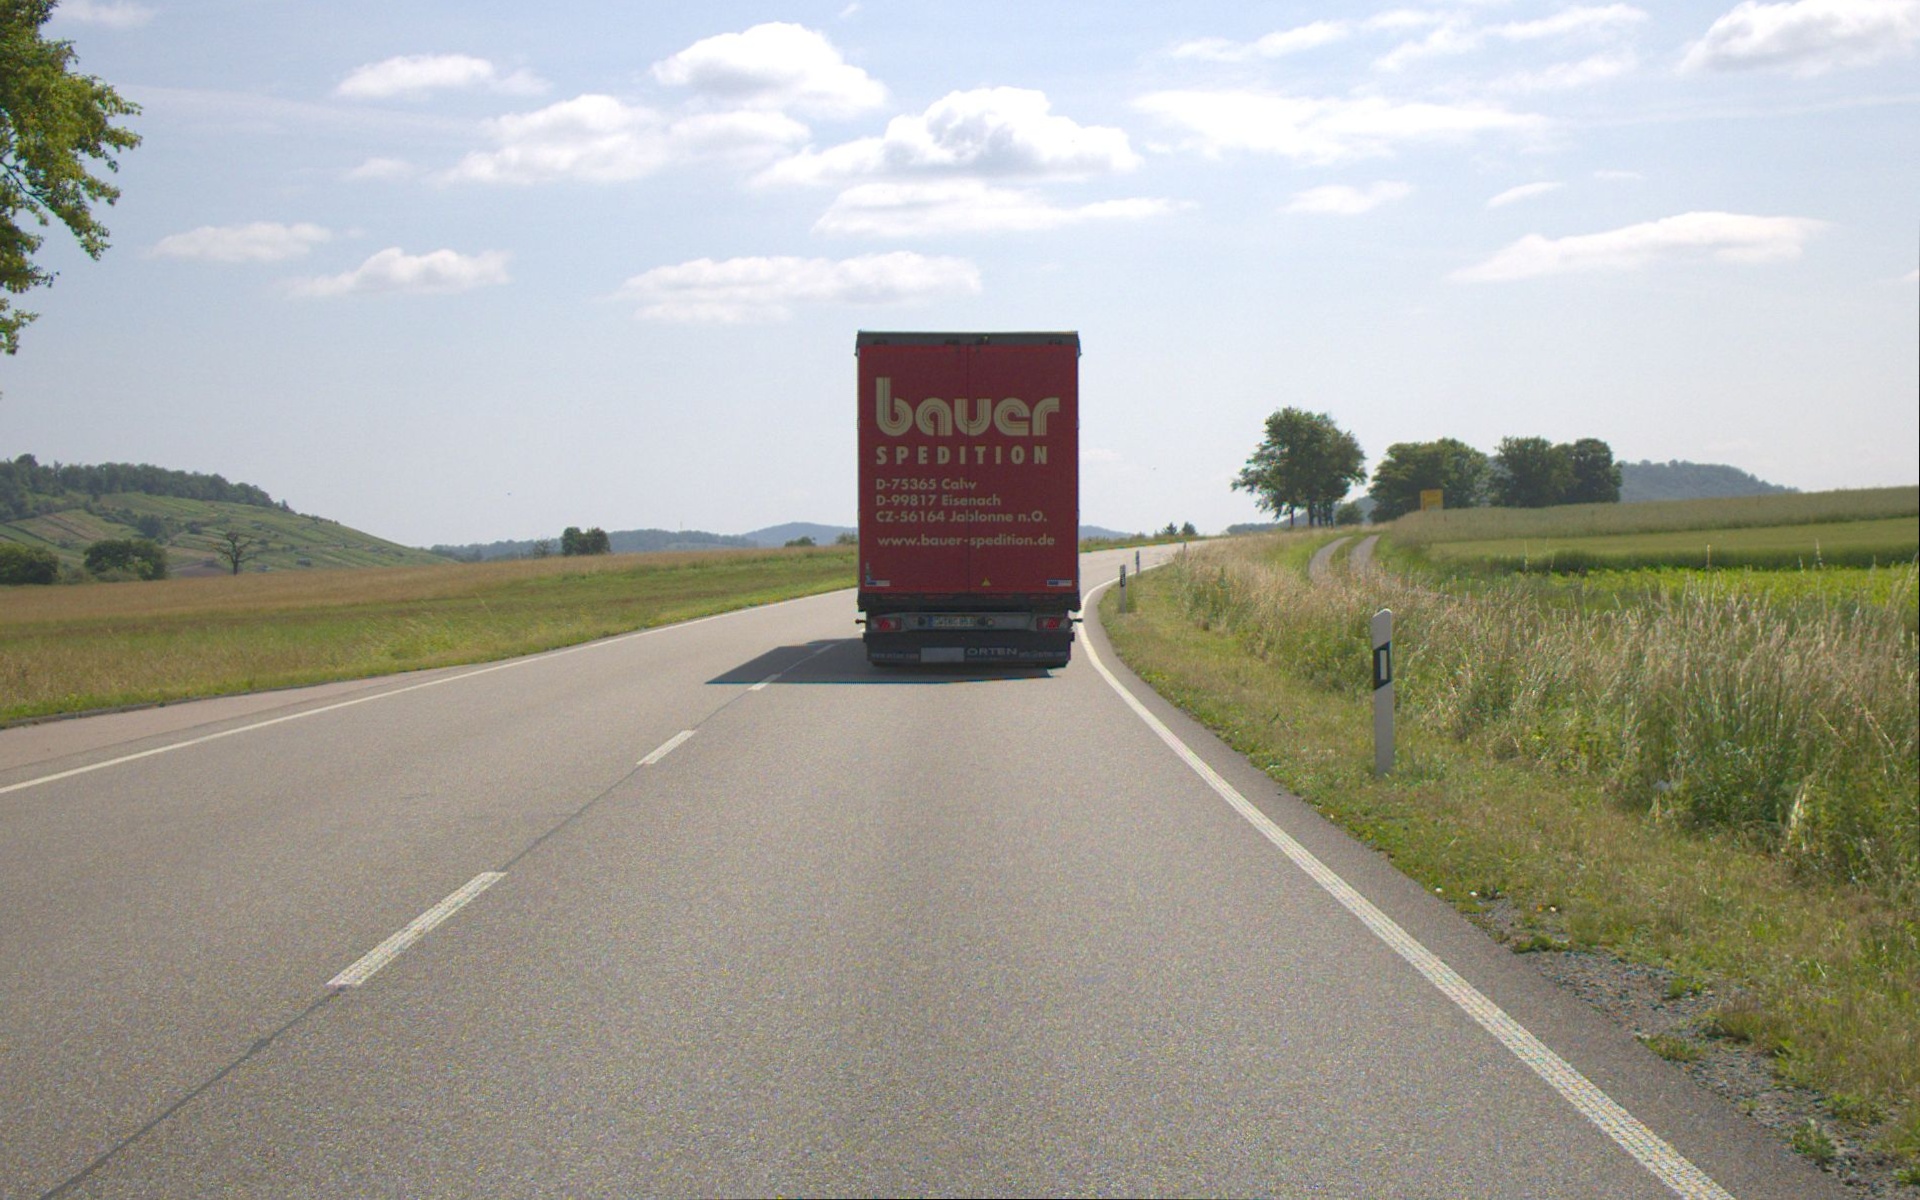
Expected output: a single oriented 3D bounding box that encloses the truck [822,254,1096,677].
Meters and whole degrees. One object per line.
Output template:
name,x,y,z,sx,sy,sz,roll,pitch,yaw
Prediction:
truck,-0.093,-1.582,43.570,2.975,4.697,9.366,2,1,-1
